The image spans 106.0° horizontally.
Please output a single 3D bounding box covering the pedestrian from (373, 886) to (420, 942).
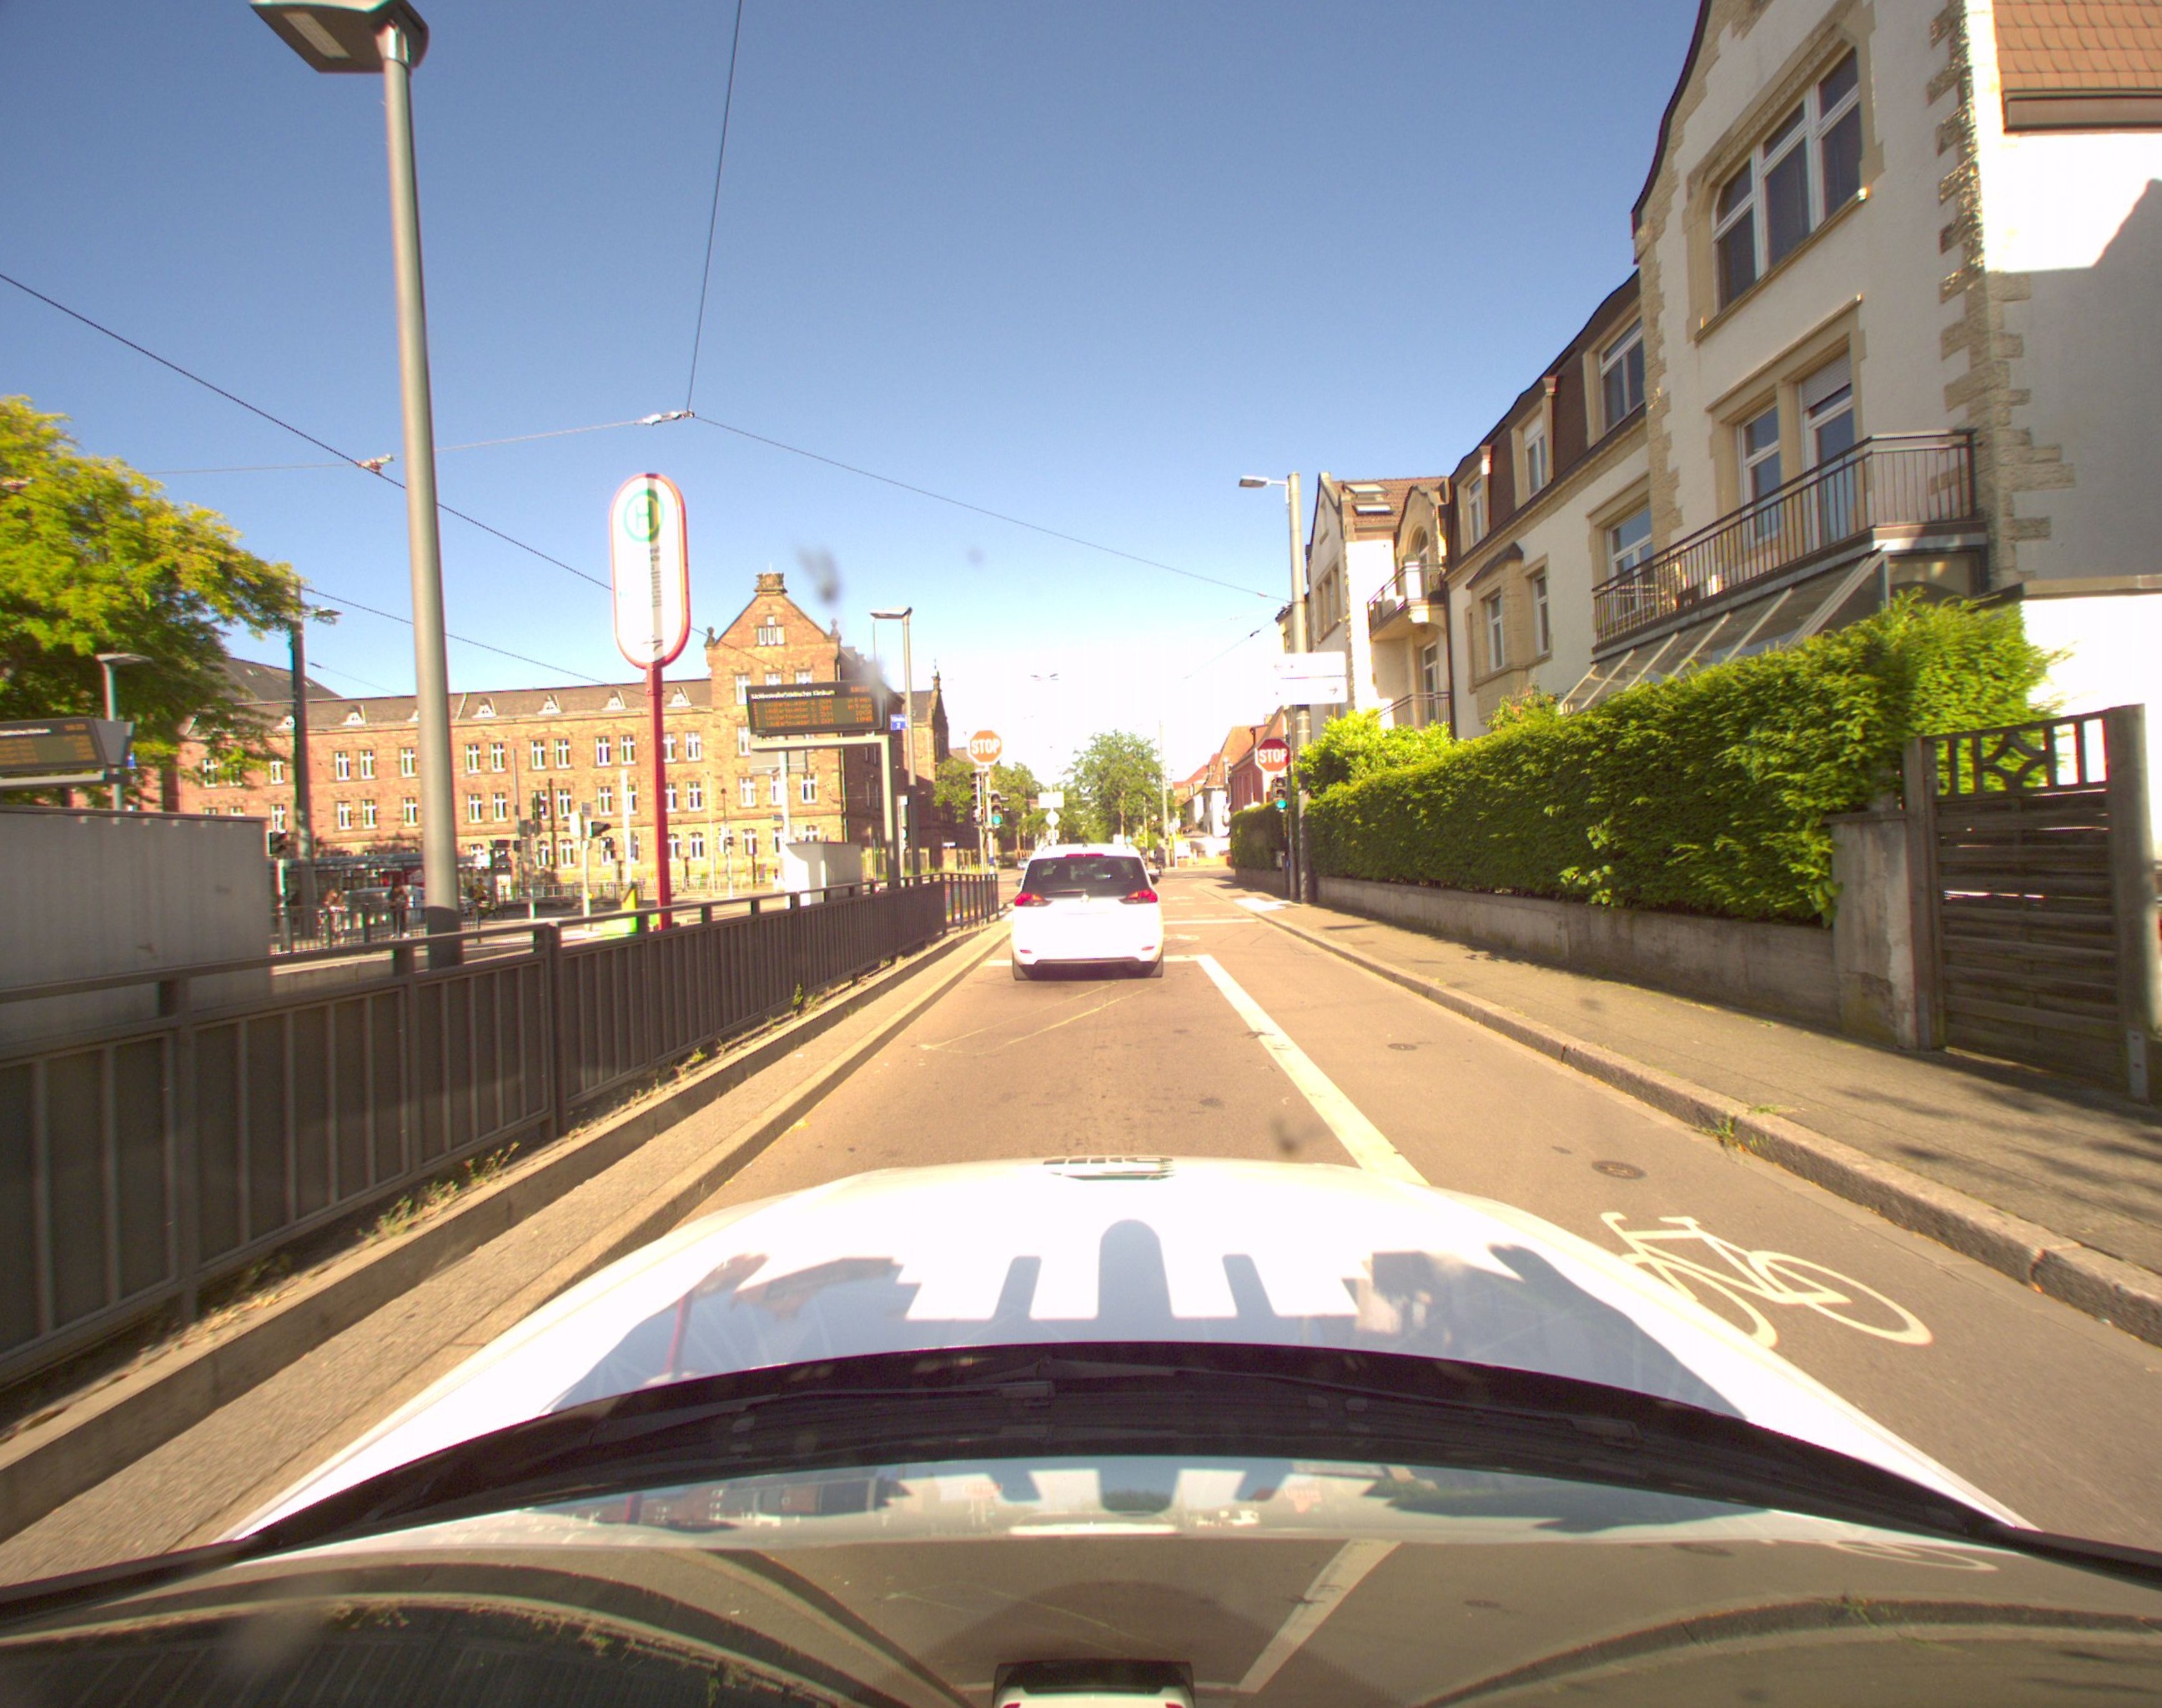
[{"bbox_3d":[-20.020,1.742,23.827,0.568,1.569,0.836,-2,0,23],"label":"pedestrian"}]

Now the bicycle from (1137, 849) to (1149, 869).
[{"bbox_3d":[3.753,0.302,49.019,0.682,1.157,1.621,-2,0,5],"label":"bicycle"}]

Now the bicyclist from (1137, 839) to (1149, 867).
[{"bbox_3d":[3.735,-0.063,48.958,0.682,1.634,1.017,-2,-1,4],"label":"bicyclist"}]

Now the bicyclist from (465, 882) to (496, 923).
[{"bbox_3d":[-24.519,1.975,33.263,0.631,1.635,0.802,-2,-1,2],"label":"bicyclist"}]

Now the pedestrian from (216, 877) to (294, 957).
[{"bbox_3d":[-20.264,1.516,19.998,0.723,1.861,1.098,-2,-1,5],"label":"pedestrian"}]

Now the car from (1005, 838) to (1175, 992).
[{"bbox_3d":[0.201,0.684,10.989,1.827,1.642,3.921,-2,0,3],"label":"car"}]

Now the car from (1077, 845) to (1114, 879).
[{"bbox_3d":[0.804,0.415,42.818,1.769,1.632,3.883,-2,0,2],"label":"car"}]

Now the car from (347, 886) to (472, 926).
[{"bbox_3d":[-29.835,2.301,36.244,4.046,1.522,1.879,-2,0,4],"label":"car"}]

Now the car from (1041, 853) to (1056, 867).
[{"bbox_3d":[-4.537,0.851,114.250,1.885,1.783,3.882,-2,0,1],"label":"car"}]

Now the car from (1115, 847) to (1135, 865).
[{"bbox_3d":[4.342,0.207,80.410,1.767,1.632,3.886,-2,0,5],"label":"car"}]

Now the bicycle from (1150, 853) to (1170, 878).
[{"bbox_3d":[3.921,0.557,40.392,0.826,1.154,2.095,-2,0,2],"label":"bicycle"}]

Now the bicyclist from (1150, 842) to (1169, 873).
[{"bbox_3d":[3.903,0.168,40.480,0.818,1.501,0.934,-2,-1,1],"label":"bicyclist"}]

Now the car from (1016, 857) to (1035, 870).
[{"bbox_3d":[-6.473,1.147,95.458,1.574,1.441,3.589,-2,0,4],"label":"car"}]

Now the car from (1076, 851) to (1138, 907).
[{"bbox_3d":[0.836,0.678,23.949,1.579,1.420,3.905,-3,0,4],"label":"car"}]

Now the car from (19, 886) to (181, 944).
[{"bbox_3d":[-46.992,2.882,39.089,5.011,2.453,2.261,-2,0,1],"label":"car"}]

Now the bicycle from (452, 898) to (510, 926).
[{"bbox_3d":[-24.486,2.375,33.257,1.728,1.013,0.802,-2,0,2],"label":"bicycle"}]

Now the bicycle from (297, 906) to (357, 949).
[{"bbox_3d":[-20.868,2.008,22.573,0.694,1.049,1.656,-2,0,-24],"label":"bicycle"}]

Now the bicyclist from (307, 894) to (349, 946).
[{"bbox_3d":[-20.894,1.814,22.616,0.692,1.383,0.530,-2,-1,-24],"label":"bicyclist"}]
